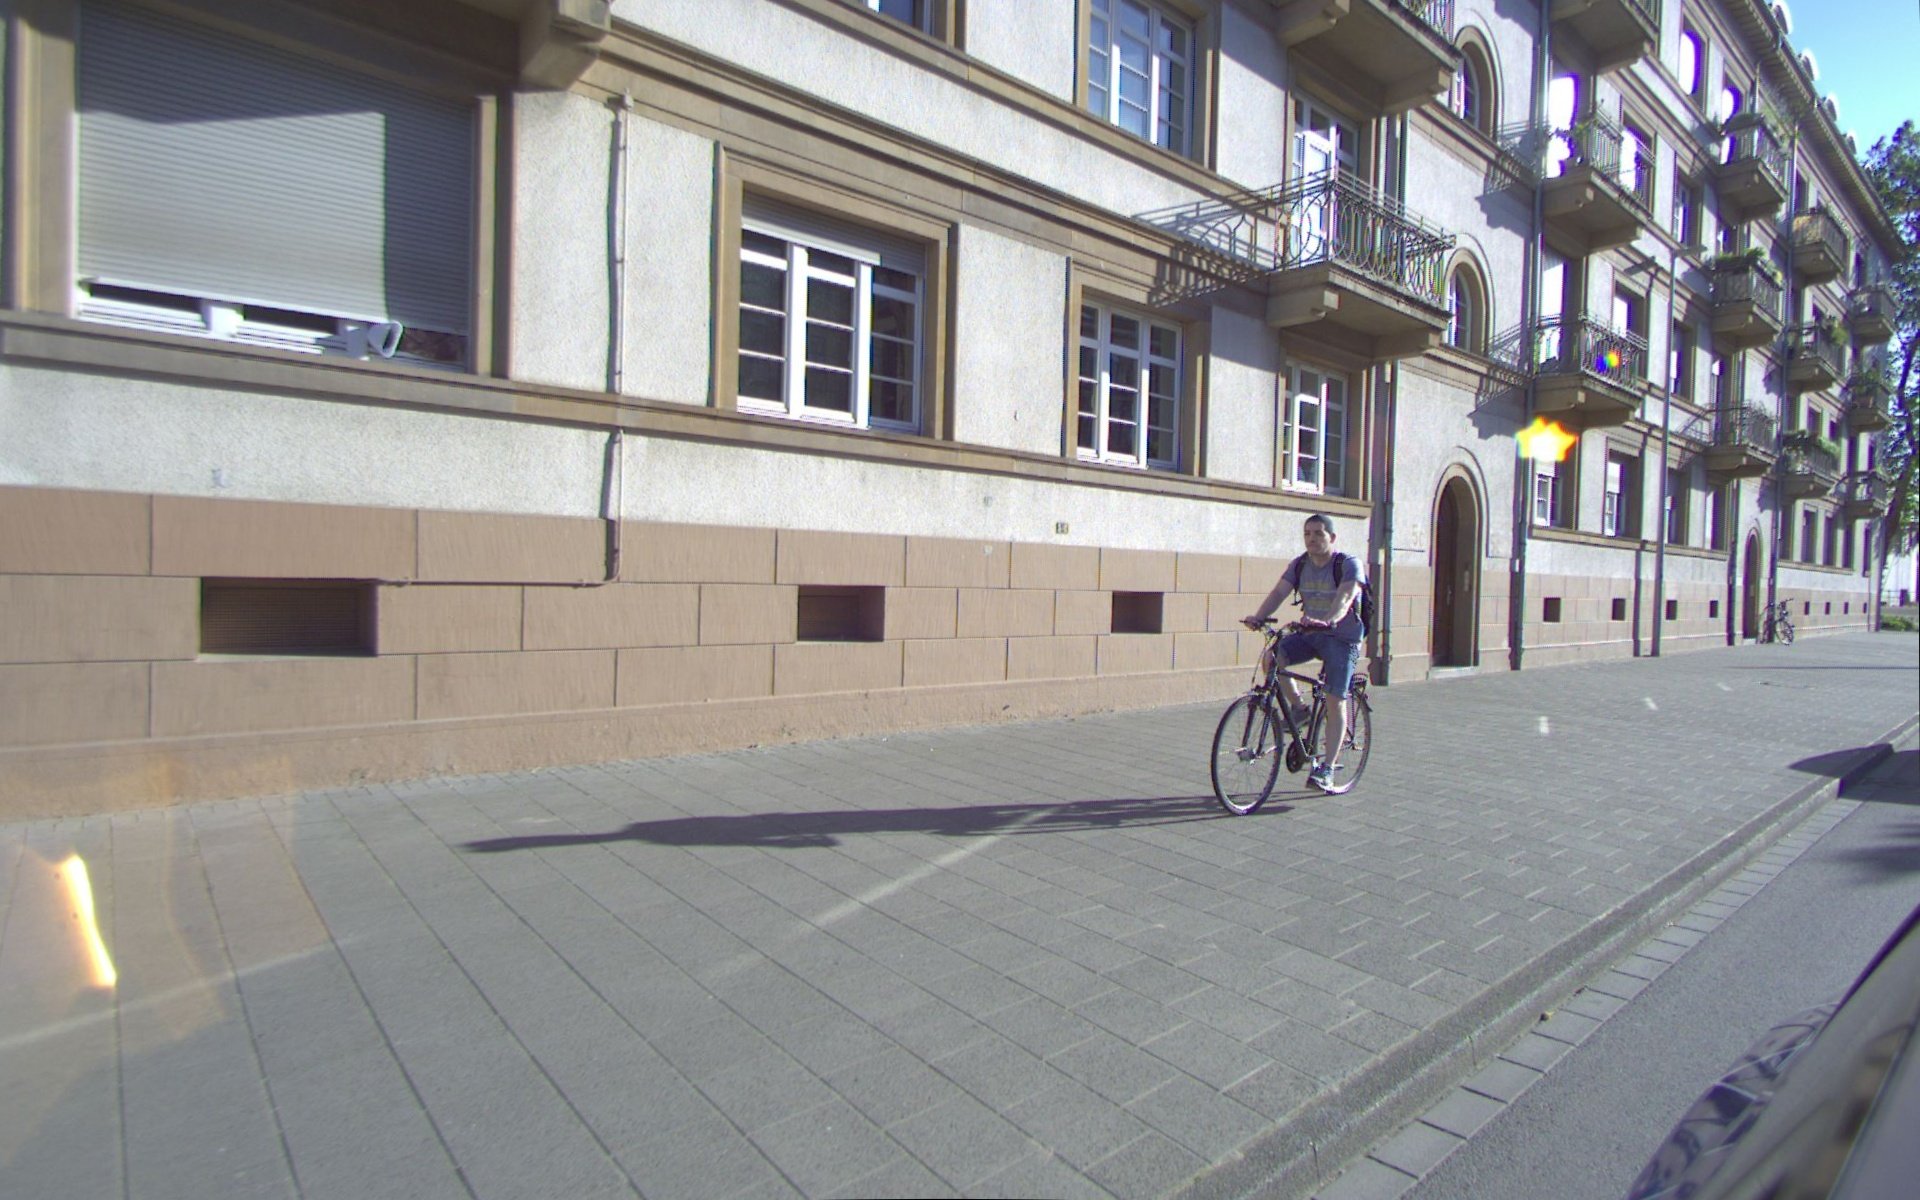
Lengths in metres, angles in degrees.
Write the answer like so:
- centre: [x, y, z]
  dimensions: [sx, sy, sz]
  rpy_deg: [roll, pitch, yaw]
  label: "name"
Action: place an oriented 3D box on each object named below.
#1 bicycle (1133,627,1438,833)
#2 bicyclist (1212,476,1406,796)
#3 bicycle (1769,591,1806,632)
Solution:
- centre: [2.054, 0.692, 6.191]
  dimensions: [2.160, 0.965, 0.769]
  rpy_deg: [0, 2, -42]
  label: "bicycle"
- centre: [2.151, 0.188, 6.231]
  dimensions: [0.921, 1.785, 0.734]
  rpy_deg: [0, 2, -41]
  label: "bicyclist"
- centre: [23.028, 0.308, 28.155]
  dimensions: [2.160, 1.109, 0.419]
  rpy_deg: [0, 2, -41]
  label: "bicycle"
